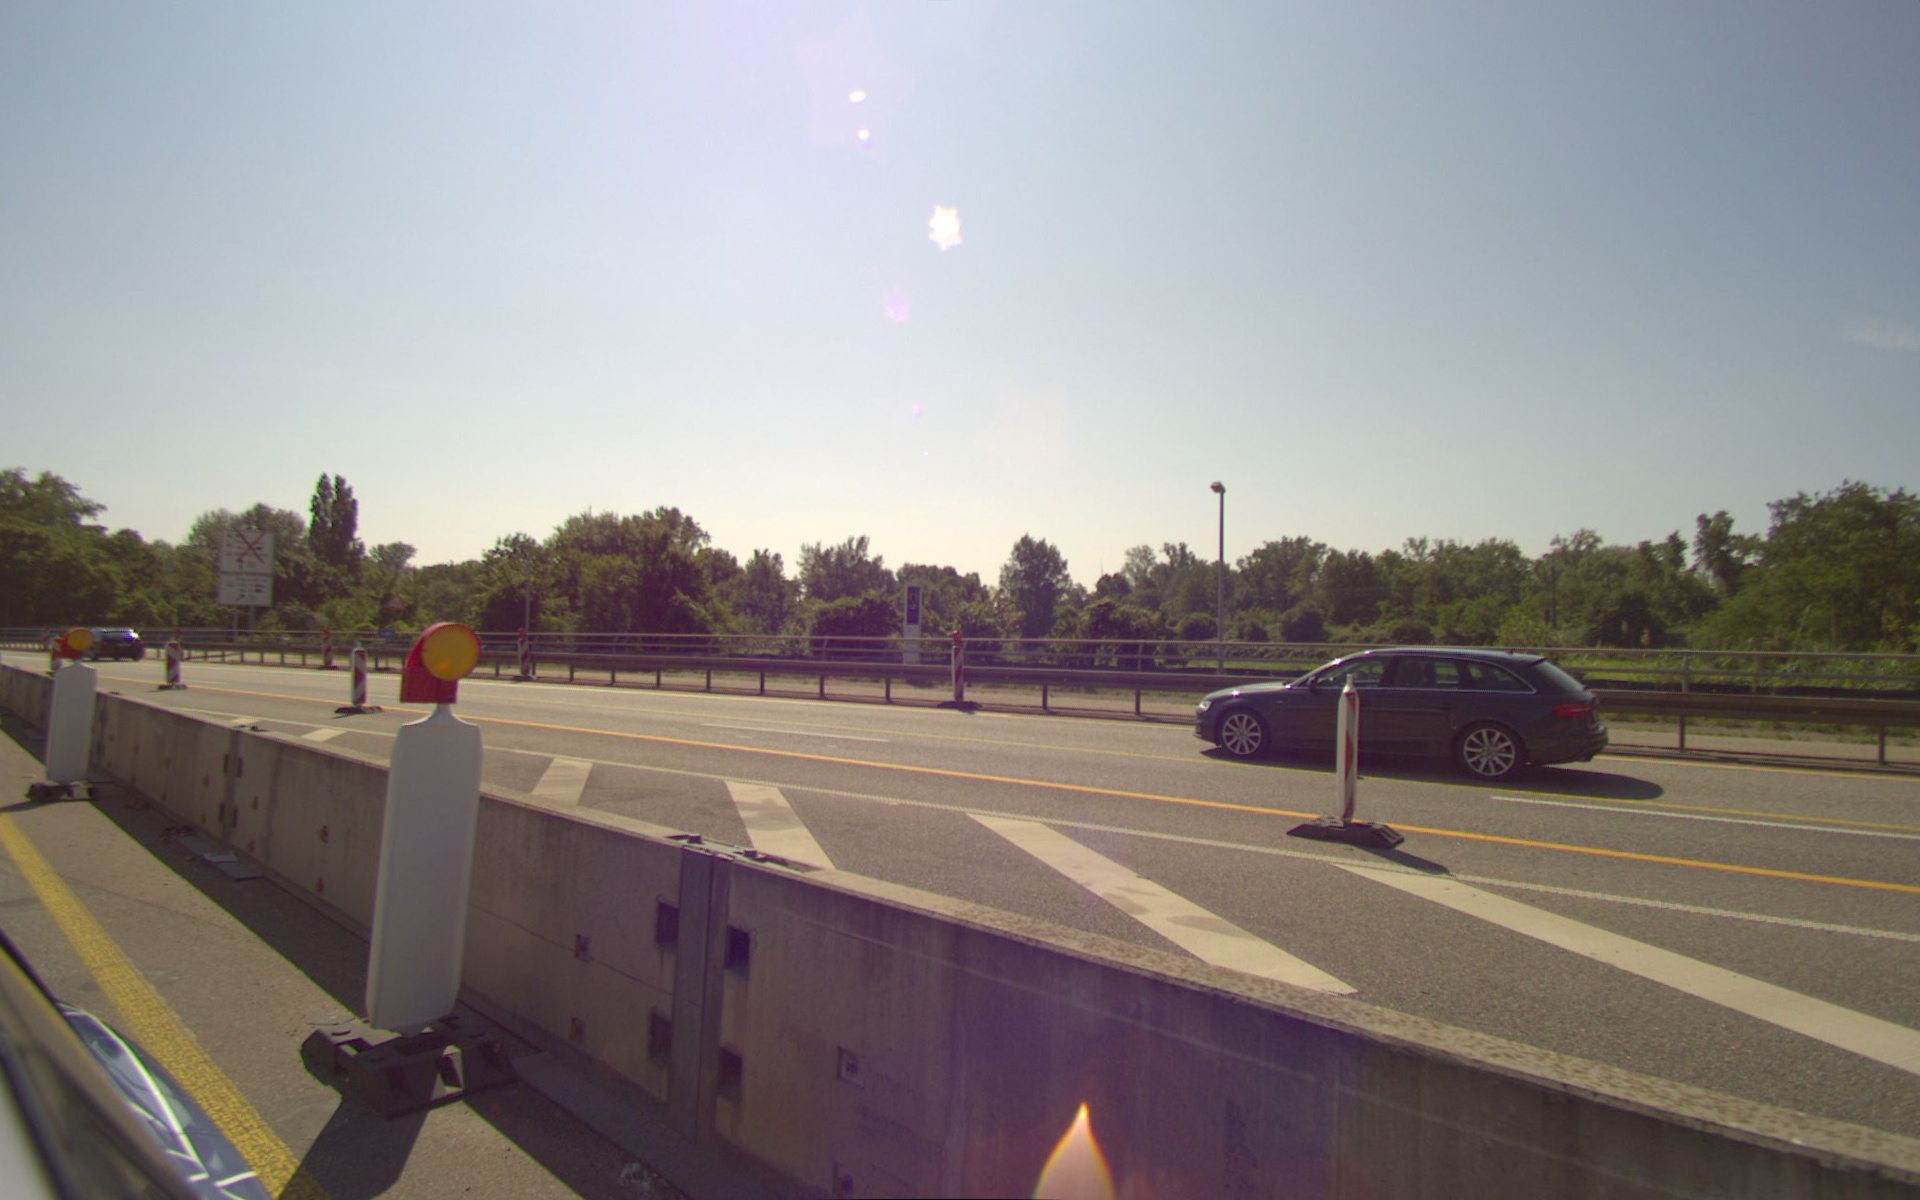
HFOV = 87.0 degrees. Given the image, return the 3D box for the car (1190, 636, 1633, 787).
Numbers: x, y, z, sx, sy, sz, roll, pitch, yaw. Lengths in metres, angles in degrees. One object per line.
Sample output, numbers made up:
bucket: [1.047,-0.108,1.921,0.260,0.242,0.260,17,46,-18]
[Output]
car: [5.291,1.195,12.241,4.638,1.487,1.721,-1,-3,38]

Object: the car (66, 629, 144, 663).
car: [-38.791,2.055,45.873,4.989,1.453,1.651,-1,-2,38]
